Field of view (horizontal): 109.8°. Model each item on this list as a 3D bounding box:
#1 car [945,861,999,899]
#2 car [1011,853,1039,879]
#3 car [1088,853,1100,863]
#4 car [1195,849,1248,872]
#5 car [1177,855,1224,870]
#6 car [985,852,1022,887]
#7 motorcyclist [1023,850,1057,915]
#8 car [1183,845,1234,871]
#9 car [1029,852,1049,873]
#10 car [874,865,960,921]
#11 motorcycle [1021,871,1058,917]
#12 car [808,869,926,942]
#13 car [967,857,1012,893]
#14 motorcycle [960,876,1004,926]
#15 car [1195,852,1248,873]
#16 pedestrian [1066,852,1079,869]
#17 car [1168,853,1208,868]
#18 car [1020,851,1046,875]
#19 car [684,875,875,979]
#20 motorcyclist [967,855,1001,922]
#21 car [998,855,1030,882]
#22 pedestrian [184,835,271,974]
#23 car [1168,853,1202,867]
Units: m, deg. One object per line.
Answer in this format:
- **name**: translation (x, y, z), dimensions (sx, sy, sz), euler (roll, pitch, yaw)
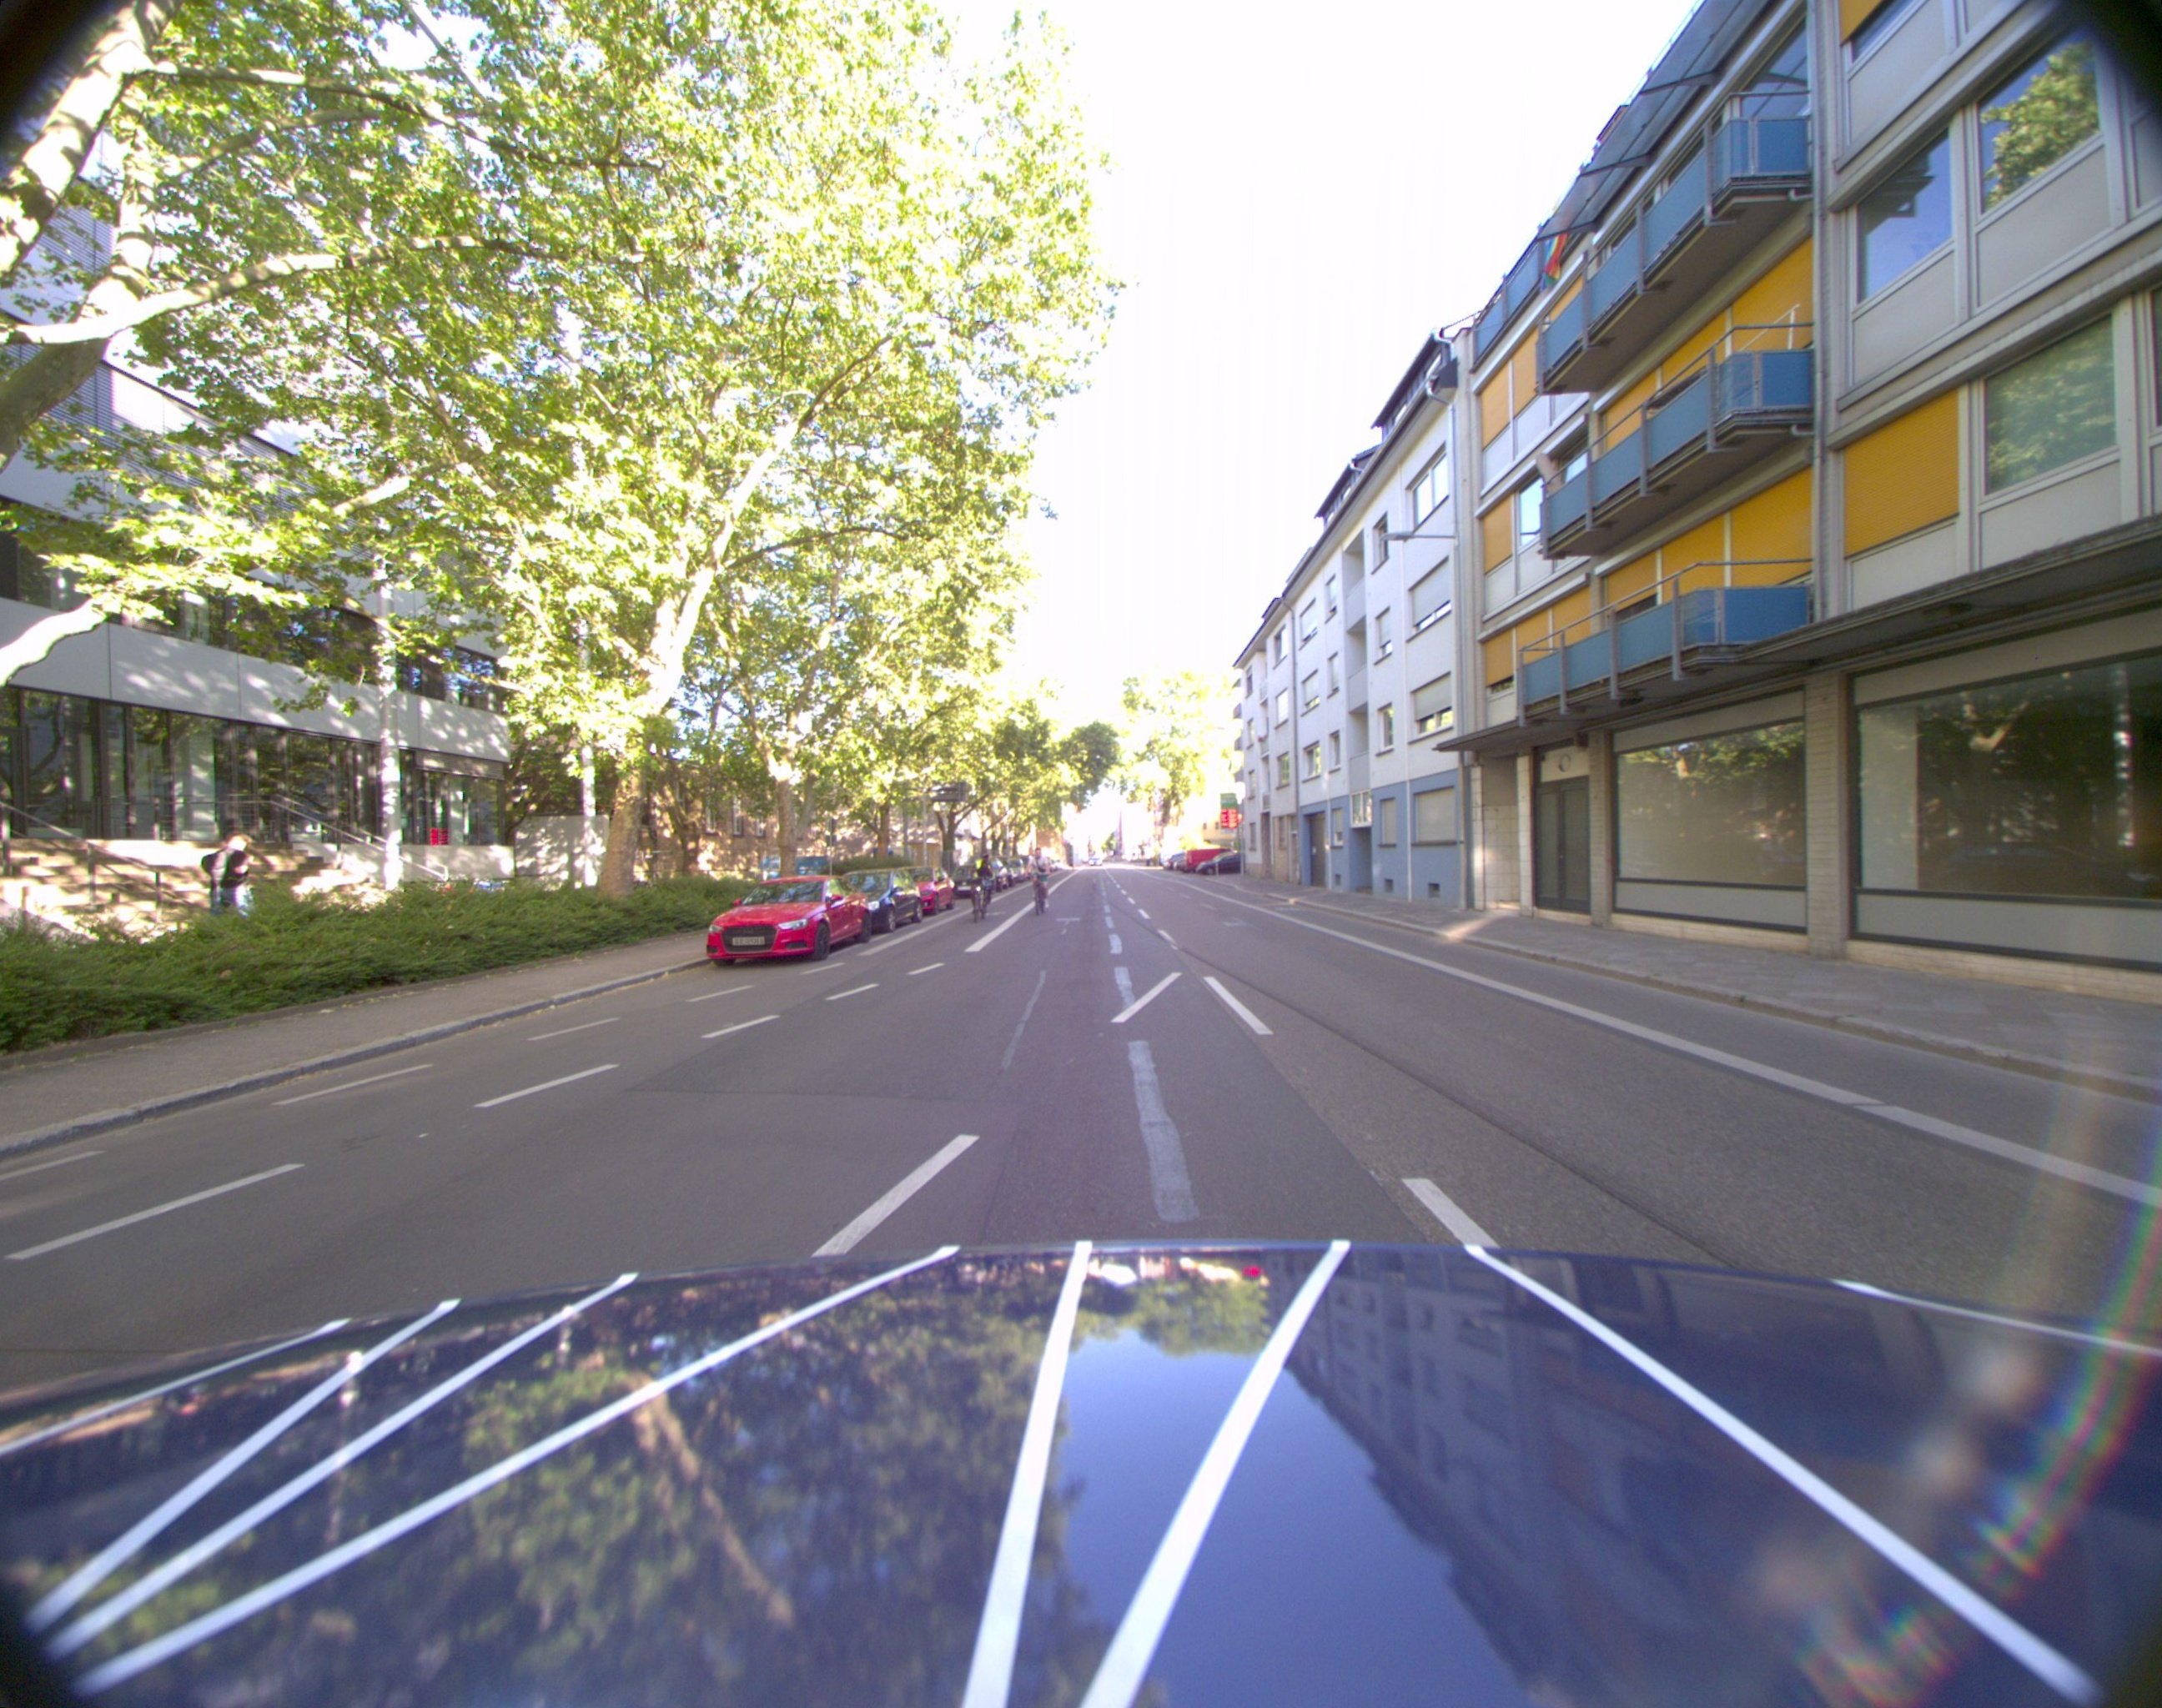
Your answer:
- **car**: translation (-4.694, 1.108, 33.236), dimensions (1.692, 1.414, 3.923), euler (-2, 1, 0)
- **car**: translation (-4.039, 0.811, 55.239), dimensions (1.634, 1.725, 3.769), euler (-2, 1, 0)
- **car**: translation (2.122, 0.595, 119.940), dimensions (1.752, 1.423, 4.266), euler (-2, 0, 2)
- **car**: translation (10.533, 0.481, 57.097), dimensions (3.687, 1.503, 1.490), euler (-2, 1, 2)
- **car**: translation (9.810, 0.690, 62.588), dimensions (3.687, 1.122, 1.345), euler (-2, 1, 2)
- **car**: translation (-4.456, 0.850, 44.240), dimensions (1.634, 1.781, 4.576), euler (-2, 1, 0)
- **motorcyclist**: translation (-1.169, 0.789, 21.635), dimensions (0.833, 1.778, 0.913), euler (-2, 1, 1)
- **car**: translation (10.059, 0.317, 59.942), dimensions (3.688, 1.897, 1.490), euler (-2, -1, -1)
- **car**: translation (-3.905, 0.802, 71.002), dimensions (1.599, 1.835, 3.769), euler (-2, 1, 0)
- **car**: translation (-5.014, 1.130, 23.684), dimensions (1.692, 1.441, 3.923), euler (-2, 1, 1)
- **motorcycle**: translation (-1.155, 1.099, 21.437), dimensions (0.865, 1.161, 1.929), euler (-2, 1, 1)
- **car**: translation (-5.051, 1.160, 18.410), dimensions (1.669, 1.410, 3.697), euler (-2, 1, 1)
- **car**: translation (-4.519, 0.989, 38.107), dimensions (1.634, 1.569, 4.231), euler (-2, 1, 0)
- **motorcycle**: translation (-2.579, 1.197, 20.084), dimensions (0.799, 1.125, 2.236), euler (-2, 1, 1)
- **car**: translation (10.090, 0.586, 54.729), dimensions (3.508, 1.380, 1.490), euler (-2, 1, 2)
- **pedestrian**: translation (-0.884, 0.665, 77.695), dimensions (0.894, 1.727, 0.827), euler (-3, 1, -41)
- **car**: translation (10.266, 0.623, 73.029), dimensions (3.687, 1.238, 1.345), euler (-2, 1, 2)
- **car**: translation (-4.172, 0.718, 66.091), dimensions (1.915, 1.940, 3.769), euler (-2, 1, 0)
- **car**: translation (-5.162, 1.177, 13.657), dimensions (1.794, 1.384, 3.999), euler (-2, 1, 0)
- **motorcyclist**: translation (-2.576, 0.902, 20.237), dimensions (0.719, 1.733, 0.751), euler (-2, 1, 1)
- **car**: translation (-4.355, 0.936, 50.111), dimensions (1.634, 1.604, 4.576), euler (-2, 1, 0)
- **pedestrian**: translation (-12.747, 0.737, 11.364), dimensions (0.552, 2.002, 0.562), euler (-2, 1, -11)
- **car**: translation (10.321, 0.578, 75.467), dimensions (3.271, 1.238, 1.345), euler (-2, 1, 2)
